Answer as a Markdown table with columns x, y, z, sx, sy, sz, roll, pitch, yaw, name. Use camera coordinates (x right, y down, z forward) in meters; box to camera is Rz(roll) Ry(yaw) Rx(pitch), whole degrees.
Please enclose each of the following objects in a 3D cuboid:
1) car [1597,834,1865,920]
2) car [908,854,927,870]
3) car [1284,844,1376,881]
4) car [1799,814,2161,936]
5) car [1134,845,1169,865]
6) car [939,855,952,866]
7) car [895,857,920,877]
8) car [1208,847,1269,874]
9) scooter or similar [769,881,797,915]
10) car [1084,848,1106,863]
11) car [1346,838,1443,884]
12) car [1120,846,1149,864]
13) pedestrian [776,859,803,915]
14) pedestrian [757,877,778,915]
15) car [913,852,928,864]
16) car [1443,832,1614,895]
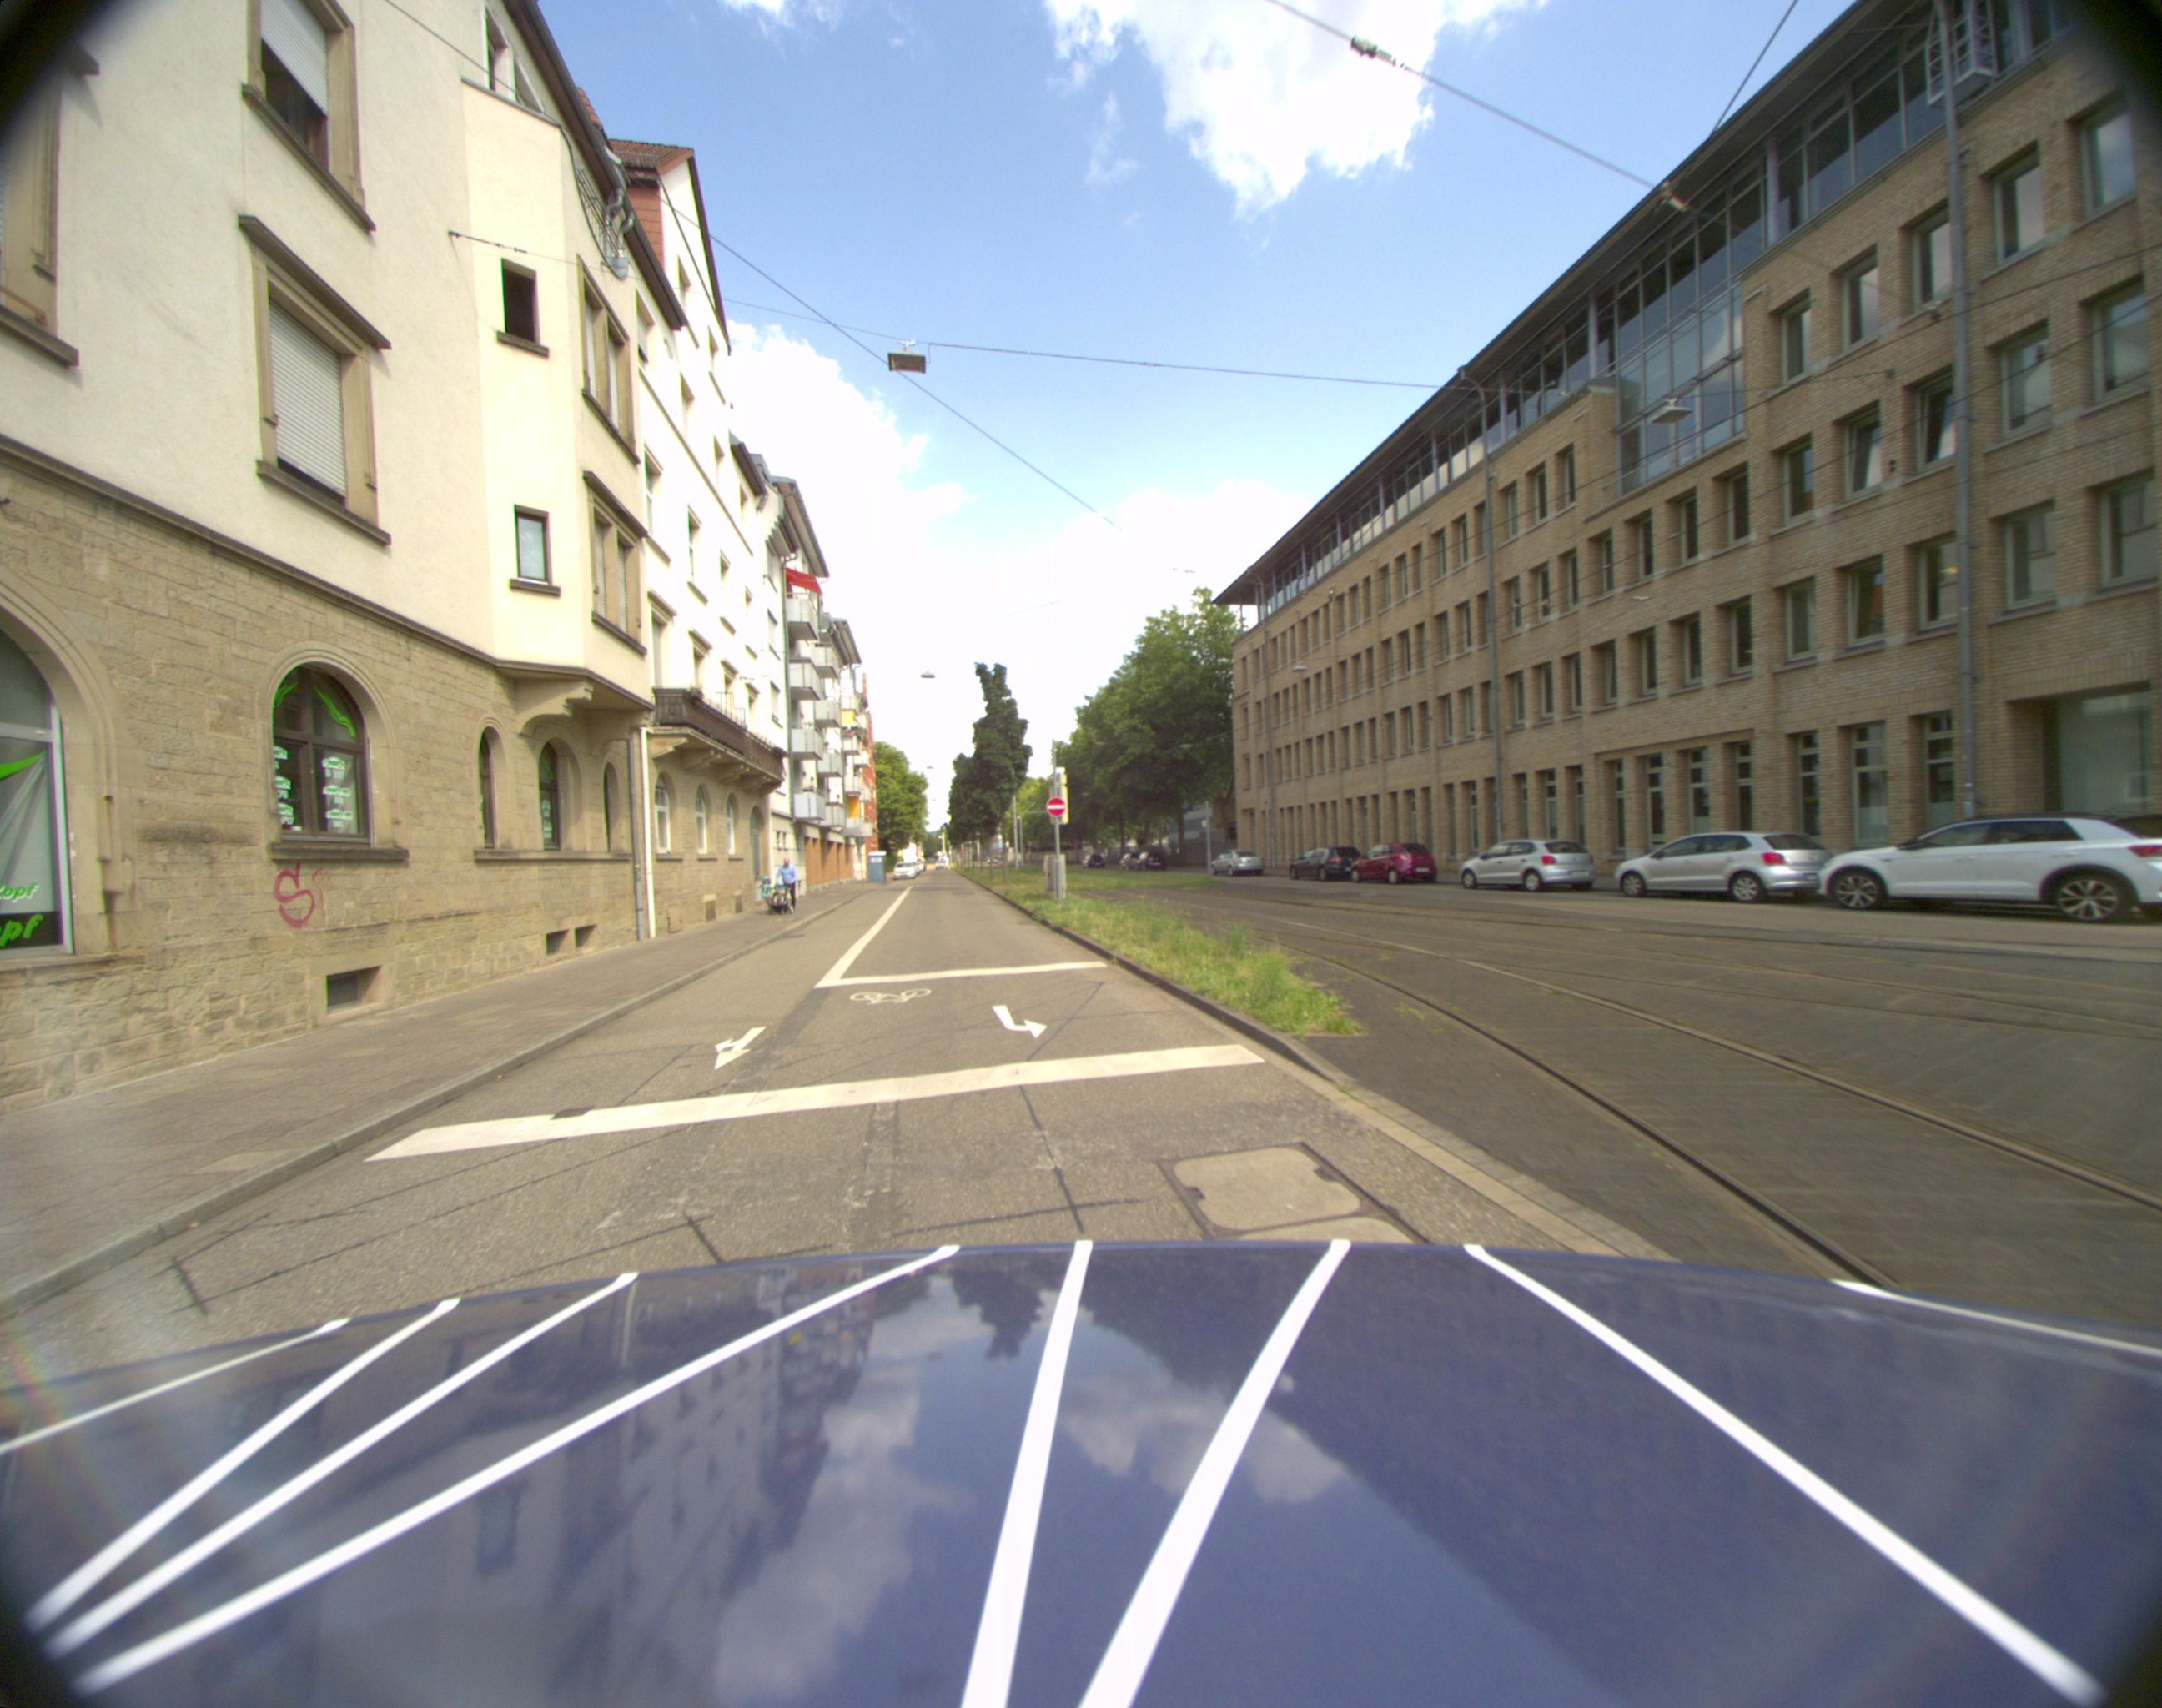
| x | y | z | sx | sy | sz | roll | pitch | yaw | name |
| --- | --- | --- | --- | --- | --- | --- | --- | --- | --- |
| 13.547 | 0.418 | 16.204 | 1.939 | 1.522 | 4.011 | -2 | 0 | -9 | car |
| -17.424 | 0.836 | 81.202 | 1.802 | 1.521 | 4.037 | -3 | 1 | -11 | car |
| 10.365 | 0.321 | 32.001 | 1.939 | 1.388 | 4.235 | -2 | 0 | -9 | car |
| 14.219 | 0.236 | 11.719 | 1.939 | 1.526 | 4.254 | -2 | 0 | -9 | car |
| 5.453 | 0.054 | 59.122 | 1.808 | 1.444 | 3.997 | -2 | 0 | -7 | car |
| -20.938 | 1.014 | 117.125 | 1.802 | 1.521 | 4.037 | -3 | 1 | -11 | car |
| -14.933 | 1.082 | 65.494 | 1.802 | 1.521 | 4.037 | -3 | 1 | -11 | car |
| 8.587 | 0.333 | 41.832 | 1.721 | 1.388 | 4.480 | -2 | 0 | -9 | car |
| -9.099 | 1.335 | 23.235 | 0.594 | 0.996 | 0.905 | 2 | 0 | -9 | scooter or similar |
| 1.489 | 0.123 | 80.033 | 1.602 | 1.455 | 3.997 | -2 | 0 | -9 | car |
| 11.295 | 0.238 | 27.641 | 1.588 | 1.522 | 3.546 | -2 | 1 | -9 | car |
| 4.503 | 0.111 | 64.518 | 1.559 | 1.417 | 3.898 | -2 | 0 | -10 | car |
| -9.215 | 1.015 | 24.040 | 0.623 | 1.728 | 0.876 | 1 | 0 | -9 | pedestrian |
| -9.786 | 1.315 | 23.742 | 0.458 | 1.128 | 0.493 | -2 | 1 | -9 | pedestrian |
| -21.727 | 0.552 | 102.769 | 1.802 | 1.521 | 4.037 | -5 | 1 | -11 | car |
| 12.366 | 0.236 | 21.353 | 1.857 | 1.522 | 4.206 | -2 | 0 | -9 | car |
